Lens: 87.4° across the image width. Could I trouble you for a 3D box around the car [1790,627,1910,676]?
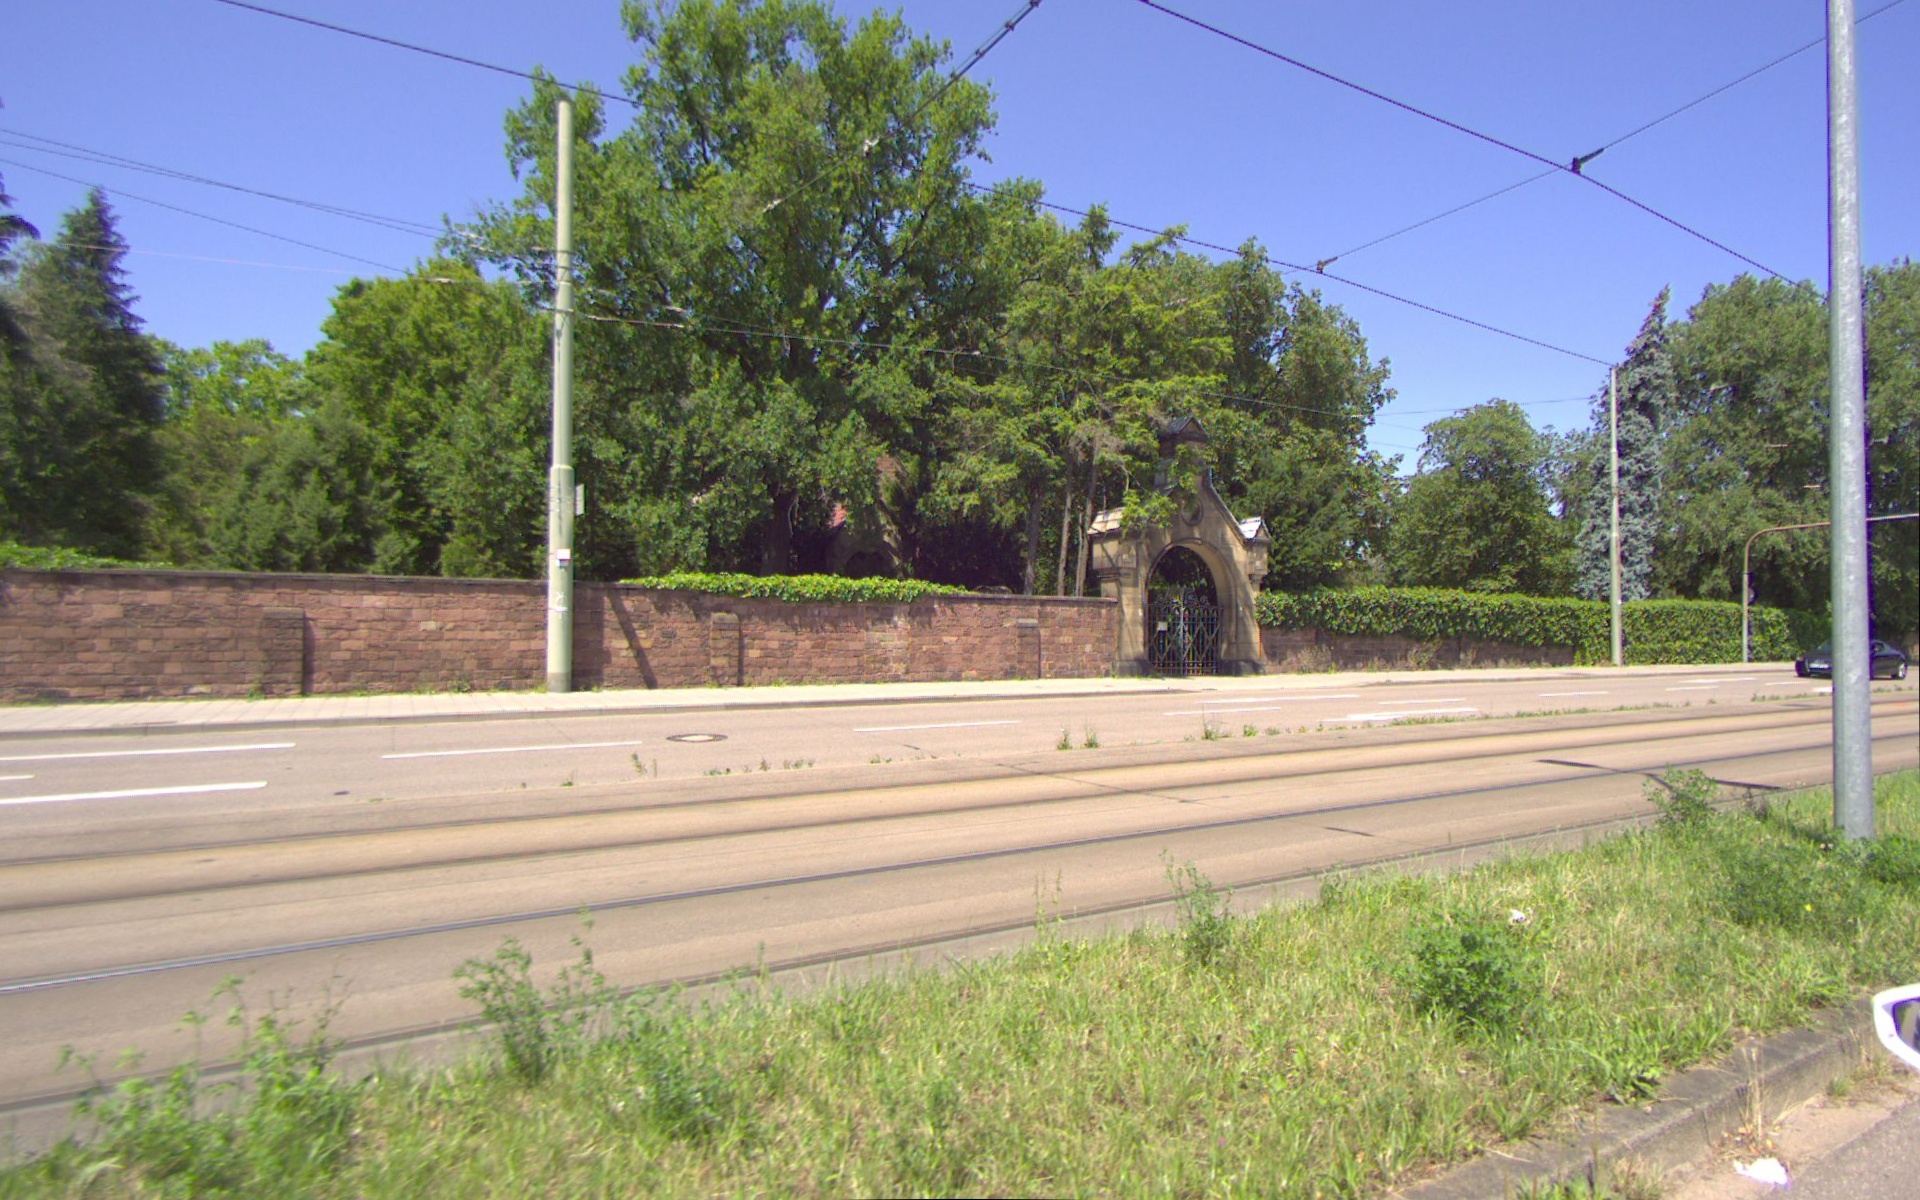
[{"bbox_3d":[29.835,1.690,33.660,4.073,1.468,1.748,1,0,-29],"label":"car"}]
